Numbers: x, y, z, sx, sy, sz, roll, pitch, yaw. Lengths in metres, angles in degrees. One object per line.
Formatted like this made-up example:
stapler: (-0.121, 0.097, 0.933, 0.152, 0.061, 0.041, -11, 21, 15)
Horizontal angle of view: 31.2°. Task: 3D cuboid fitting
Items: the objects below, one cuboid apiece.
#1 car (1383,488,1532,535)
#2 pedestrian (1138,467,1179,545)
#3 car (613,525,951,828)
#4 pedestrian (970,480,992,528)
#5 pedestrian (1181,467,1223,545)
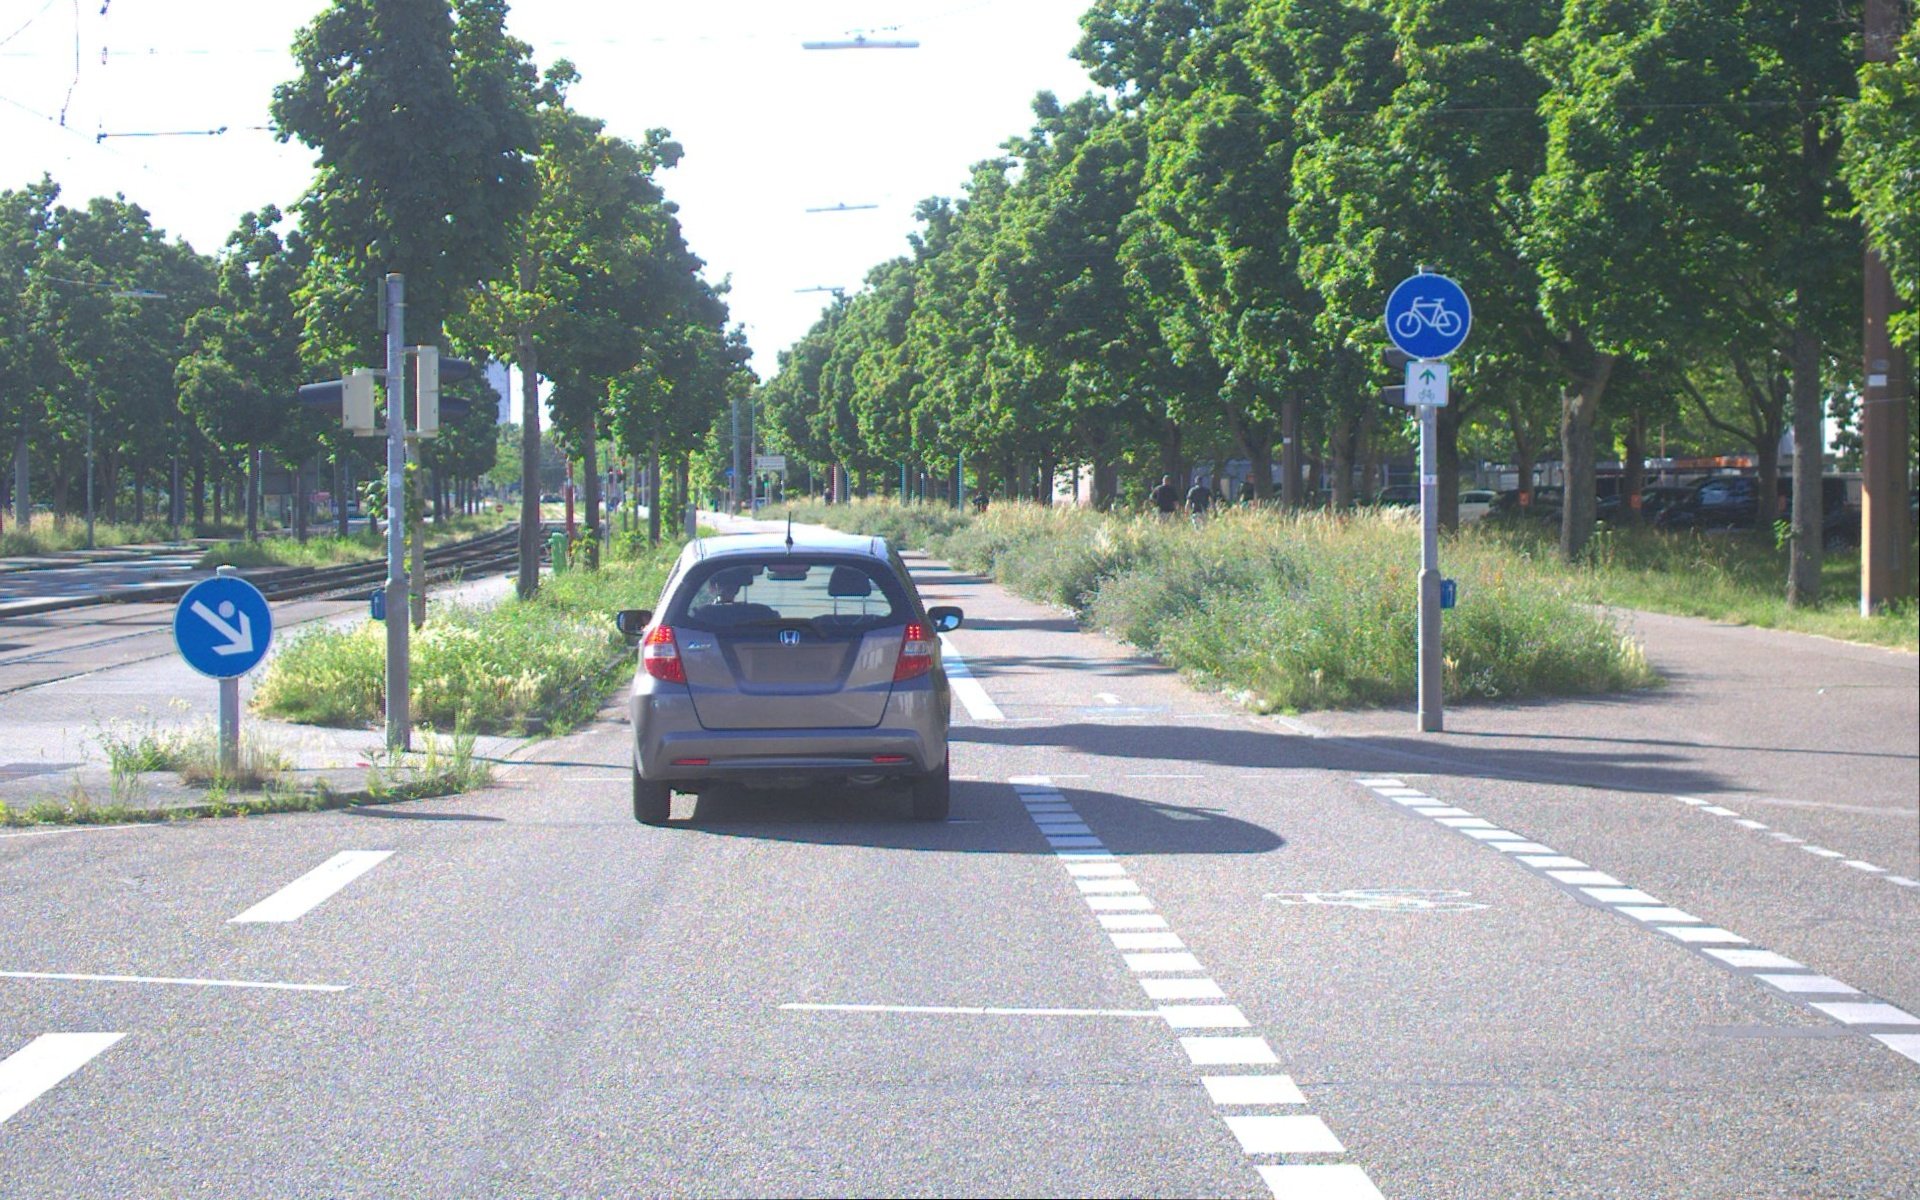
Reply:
car: (16.898, -3.015, 116.848, 4.630, 1.550, 2.001, -1, 2, -6)
pedestrian: (4.840, -2.302, 83.933, 0.882, 1.877, 0.875, -1, 1, -4)
car: (-0.928, 0.375, 19.259, 1.701, 1.518, 3.710, 0, 0, -1)
pedestrian: (0.740, -3.397, 122.179, 0.725, 1.684, 0.821, 0, 1, -3)
pedestrian: (5.903, -2.291, 83.964, 0.882, 1.877, 0.875, -1, 1, -4)
